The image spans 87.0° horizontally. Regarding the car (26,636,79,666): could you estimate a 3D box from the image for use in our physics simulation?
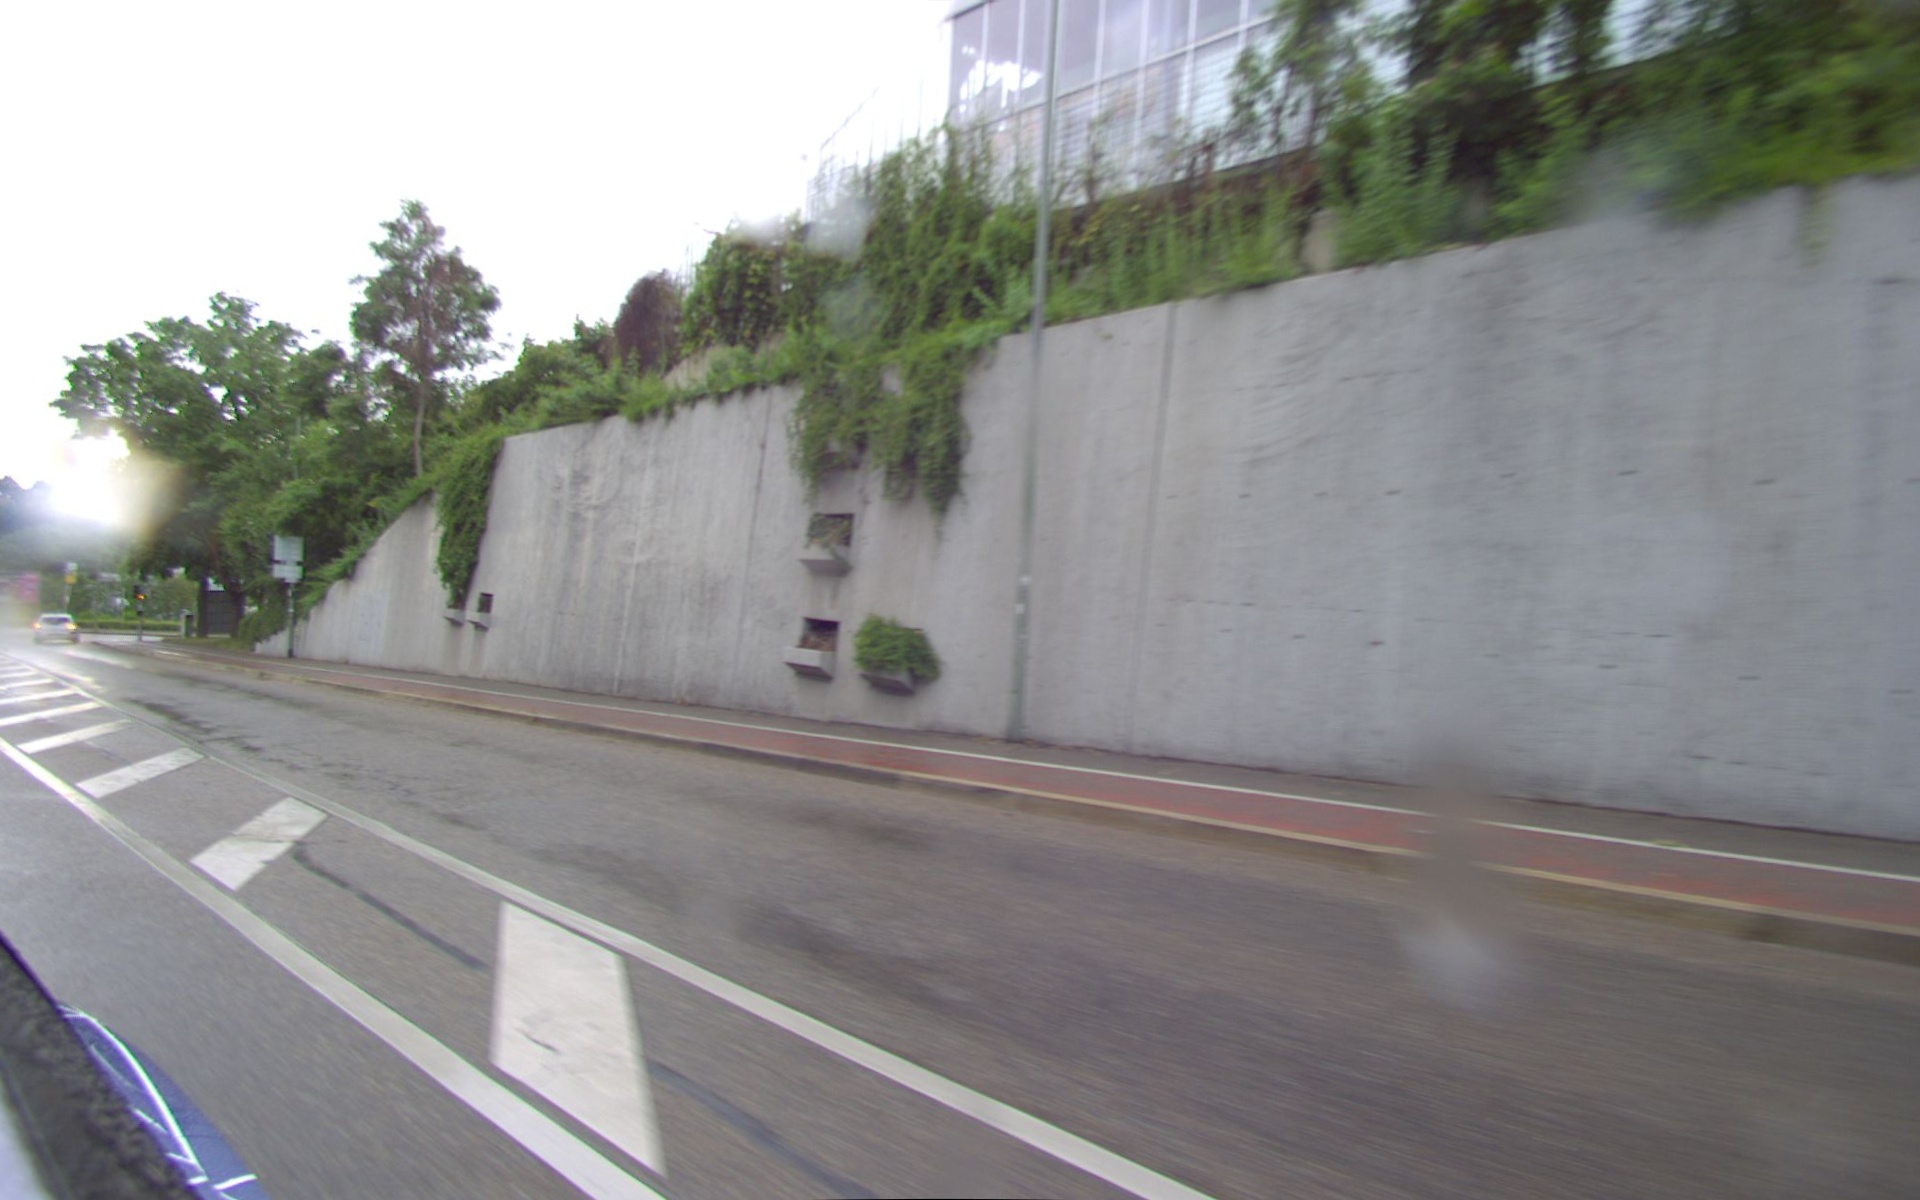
[{"bbox_3d":[-45.872,2.545,51.223,1.492,1.459,3.826,2,-2,-35],"label":"car"}]
